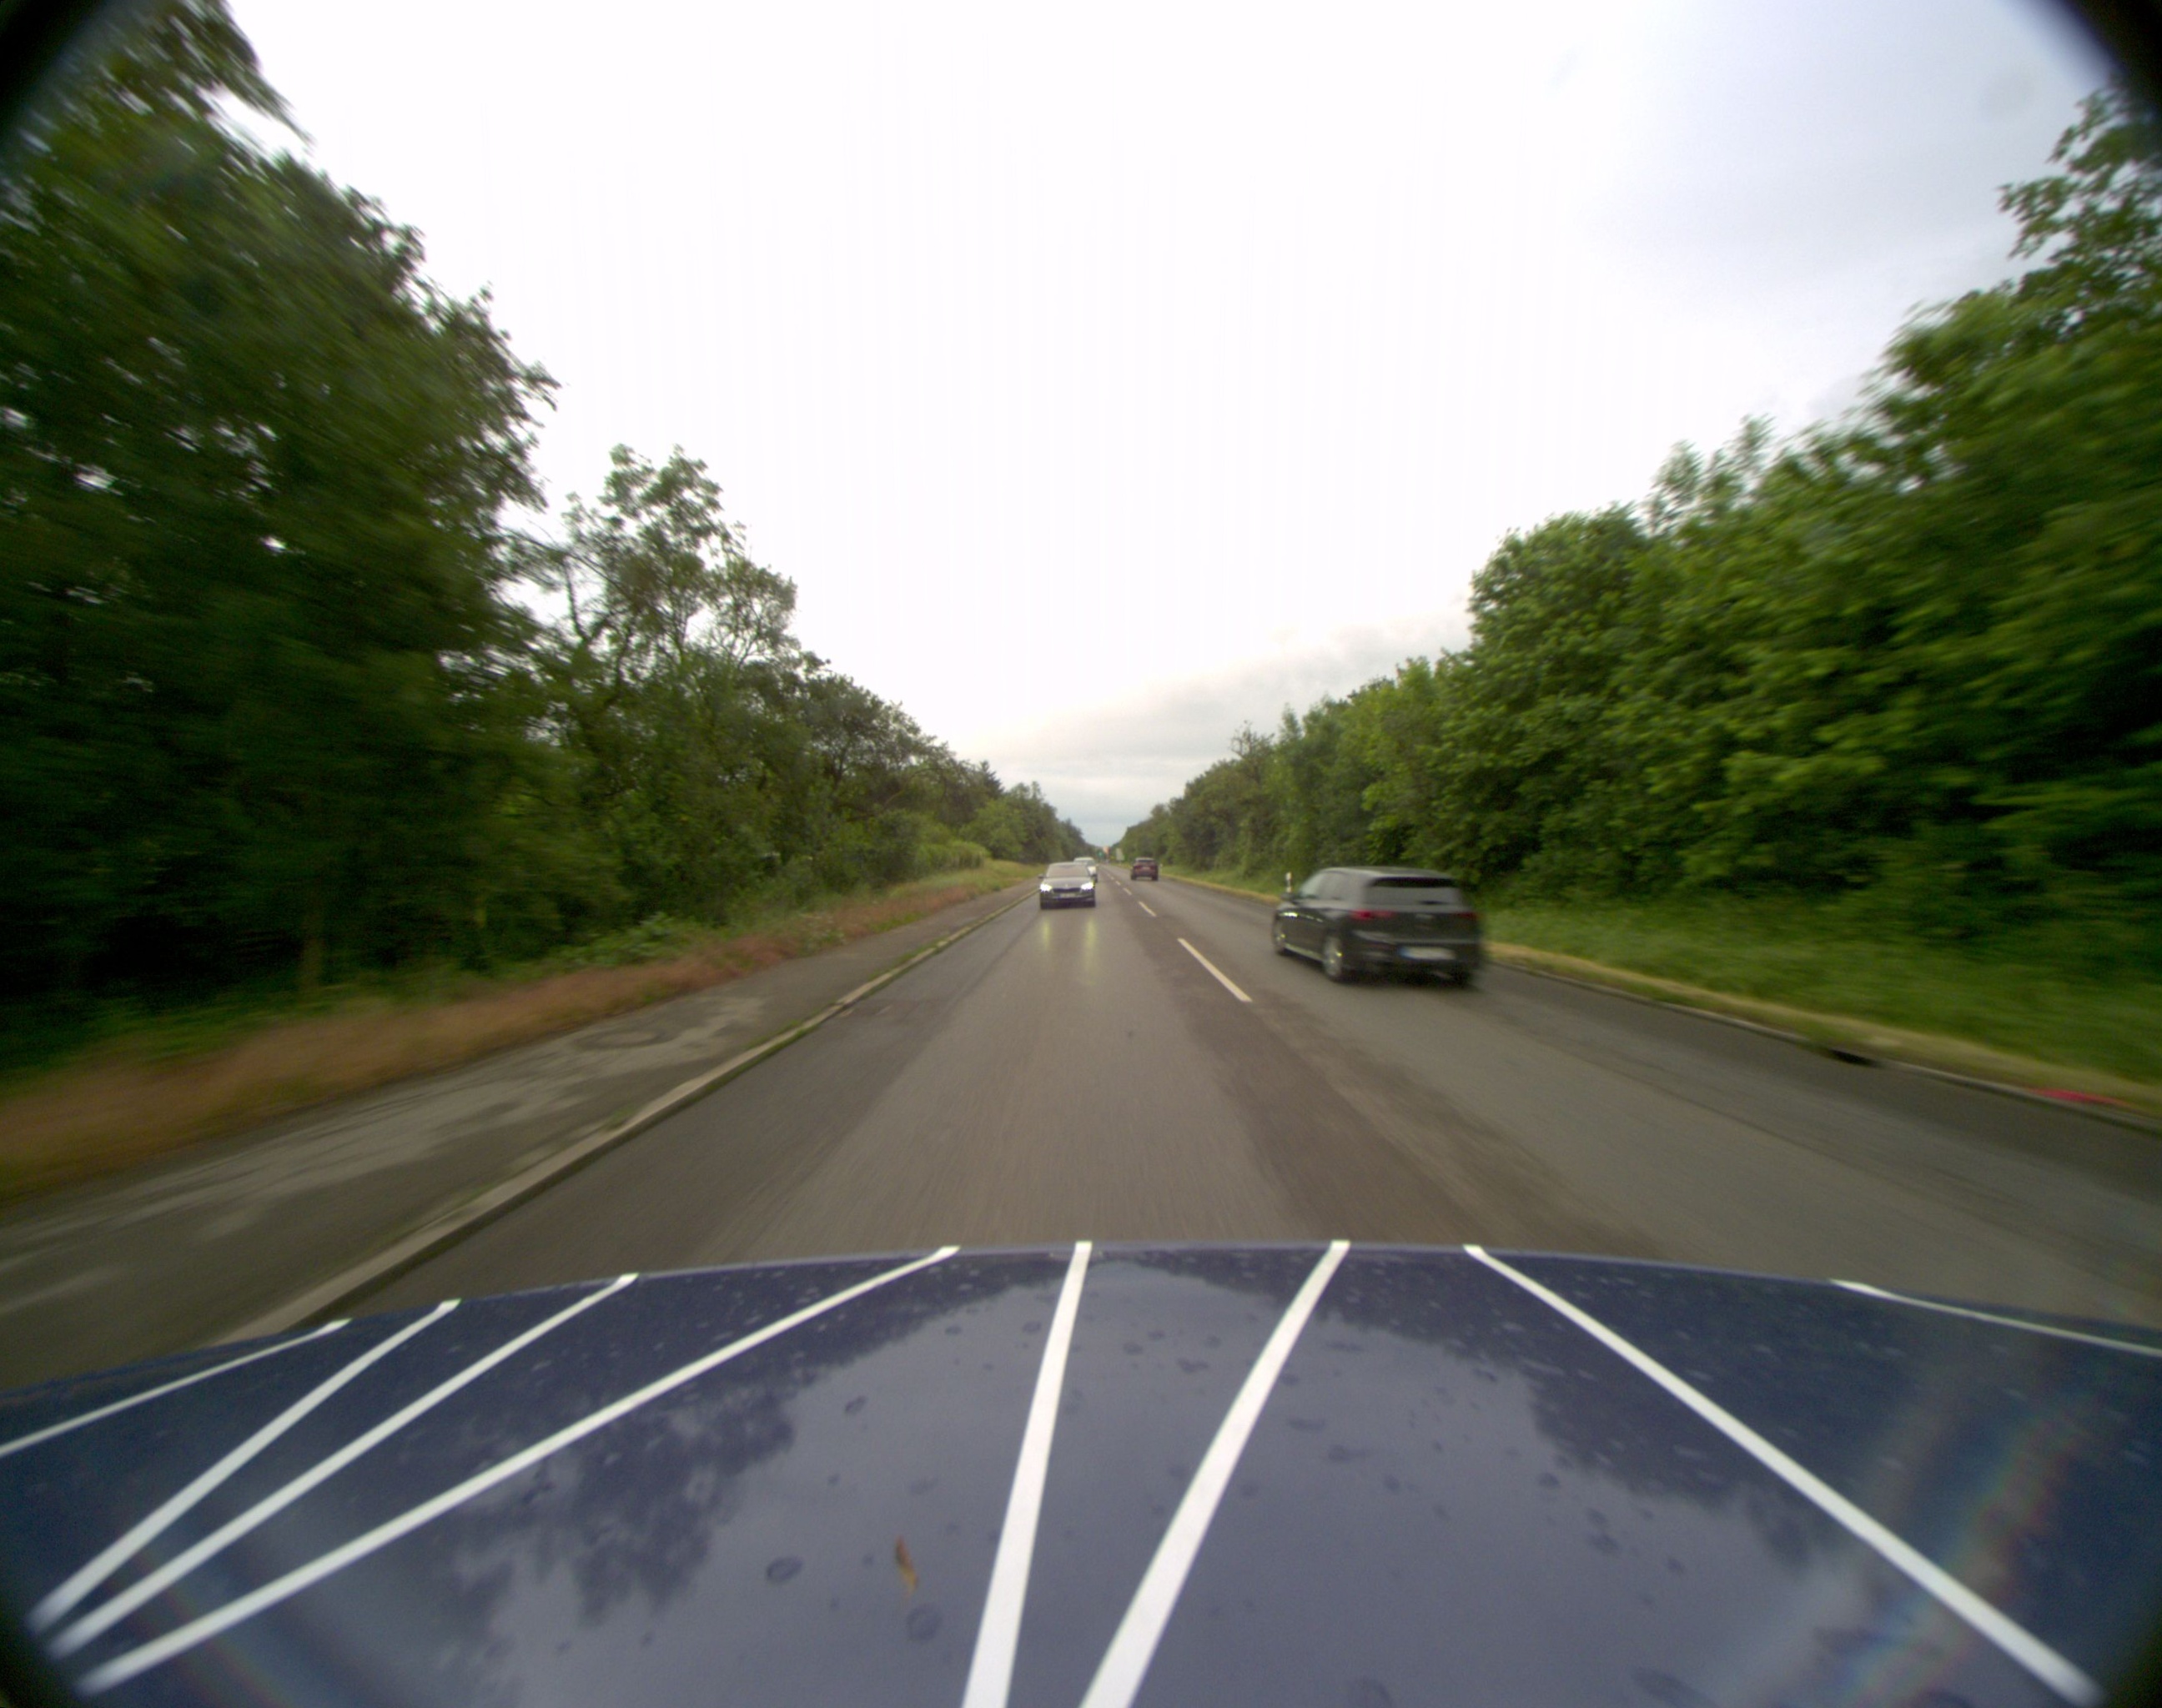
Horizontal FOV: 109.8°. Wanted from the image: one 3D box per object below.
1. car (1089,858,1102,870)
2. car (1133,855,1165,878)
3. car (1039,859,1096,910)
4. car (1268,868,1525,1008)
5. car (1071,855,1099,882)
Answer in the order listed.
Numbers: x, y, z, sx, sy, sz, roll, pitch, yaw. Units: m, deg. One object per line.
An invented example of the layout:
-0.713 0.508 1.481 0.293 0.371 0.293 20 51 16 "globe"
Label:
2.098 1.387 110.644 1.856 1.685 4.000 0 0 2 "car"
4.929 0.886 55.546 1.910 1.547 4.515 0 0 -1 "car"
-0.392 0.975 25.538 1.675 1.477 4.216 -3 -1 1 "car"
3.877 0.934 10.177 1.715 1.391 4.150 1 0 0 "car"
0.254 0.931 50.534 1.704 1.723 4.000 -1 0 0 "car"
